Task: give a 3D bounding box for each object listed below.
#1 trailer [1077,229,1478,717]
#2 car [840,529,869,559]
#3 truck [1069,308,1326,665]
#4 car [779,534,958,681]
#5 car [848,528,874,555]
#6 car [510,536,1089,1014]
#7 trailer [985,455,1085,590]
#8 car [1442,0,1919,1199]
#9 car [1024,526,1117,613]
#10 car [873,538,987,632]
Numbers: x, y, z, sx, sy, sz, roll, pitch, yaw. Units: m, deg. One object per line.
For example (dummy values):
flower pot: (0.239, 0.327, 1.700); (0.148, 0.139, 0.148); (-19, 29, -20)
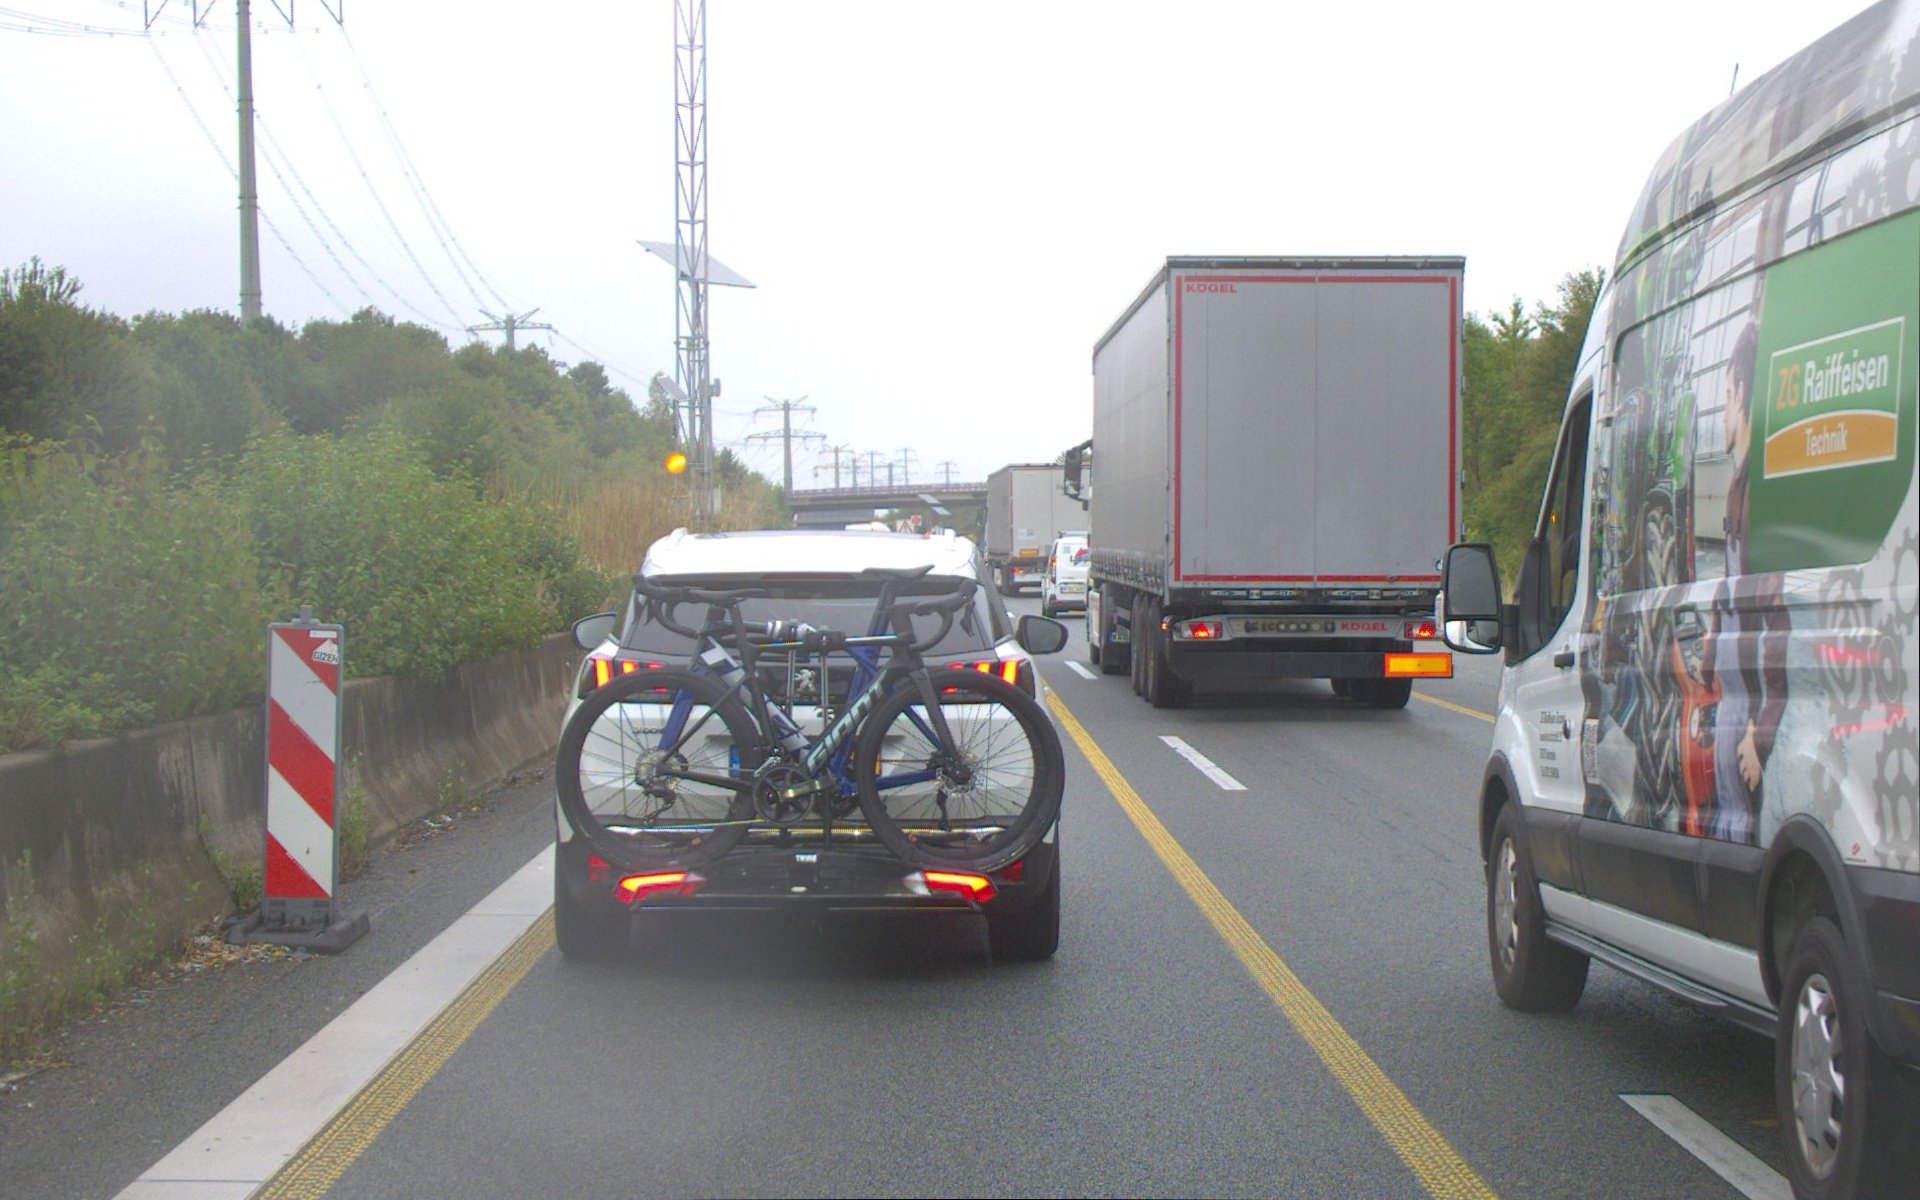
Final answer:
trailer: (2.924, -1.190, 35.978); (2.706, 4.132, 13.733); (0, 1, -1)
car: (-7.291, -3.883, 237.232); (1.931, 1.966, 4.001); (0, 2, -1)
truck: (2.844, -1.363, 42.728); (2.706, 4.124, 5.691); (0, 1, -1)
car: (-0.981, 0.042, 37.621); (1.850, 1.525, 4.000); (0, 1, -1)
car: (-7.340, -4.334, 255.184); (1.931, 1.904, 4.001); (0, 2, -1)
car: (-0.550, 0.520, 13.389); (1.850, 1.525, 4.769); (0, 1, -1)
trailer: (2.323, -2.467, 110.602); (2.692, 4.062, 13.634); (0, 1, -1)
car: (2.742, -0.034, 9.011); (1.993, 2.773, 5.757); (0, 1, -2)
car: (2.388, -0.686, 75.264); (1.829, 1.833, 4.656); (0, 1, -1)
car: (-0.521, -0.285, 57.847); (1.850, 1.525, 4.000); (0, 1, -1)
